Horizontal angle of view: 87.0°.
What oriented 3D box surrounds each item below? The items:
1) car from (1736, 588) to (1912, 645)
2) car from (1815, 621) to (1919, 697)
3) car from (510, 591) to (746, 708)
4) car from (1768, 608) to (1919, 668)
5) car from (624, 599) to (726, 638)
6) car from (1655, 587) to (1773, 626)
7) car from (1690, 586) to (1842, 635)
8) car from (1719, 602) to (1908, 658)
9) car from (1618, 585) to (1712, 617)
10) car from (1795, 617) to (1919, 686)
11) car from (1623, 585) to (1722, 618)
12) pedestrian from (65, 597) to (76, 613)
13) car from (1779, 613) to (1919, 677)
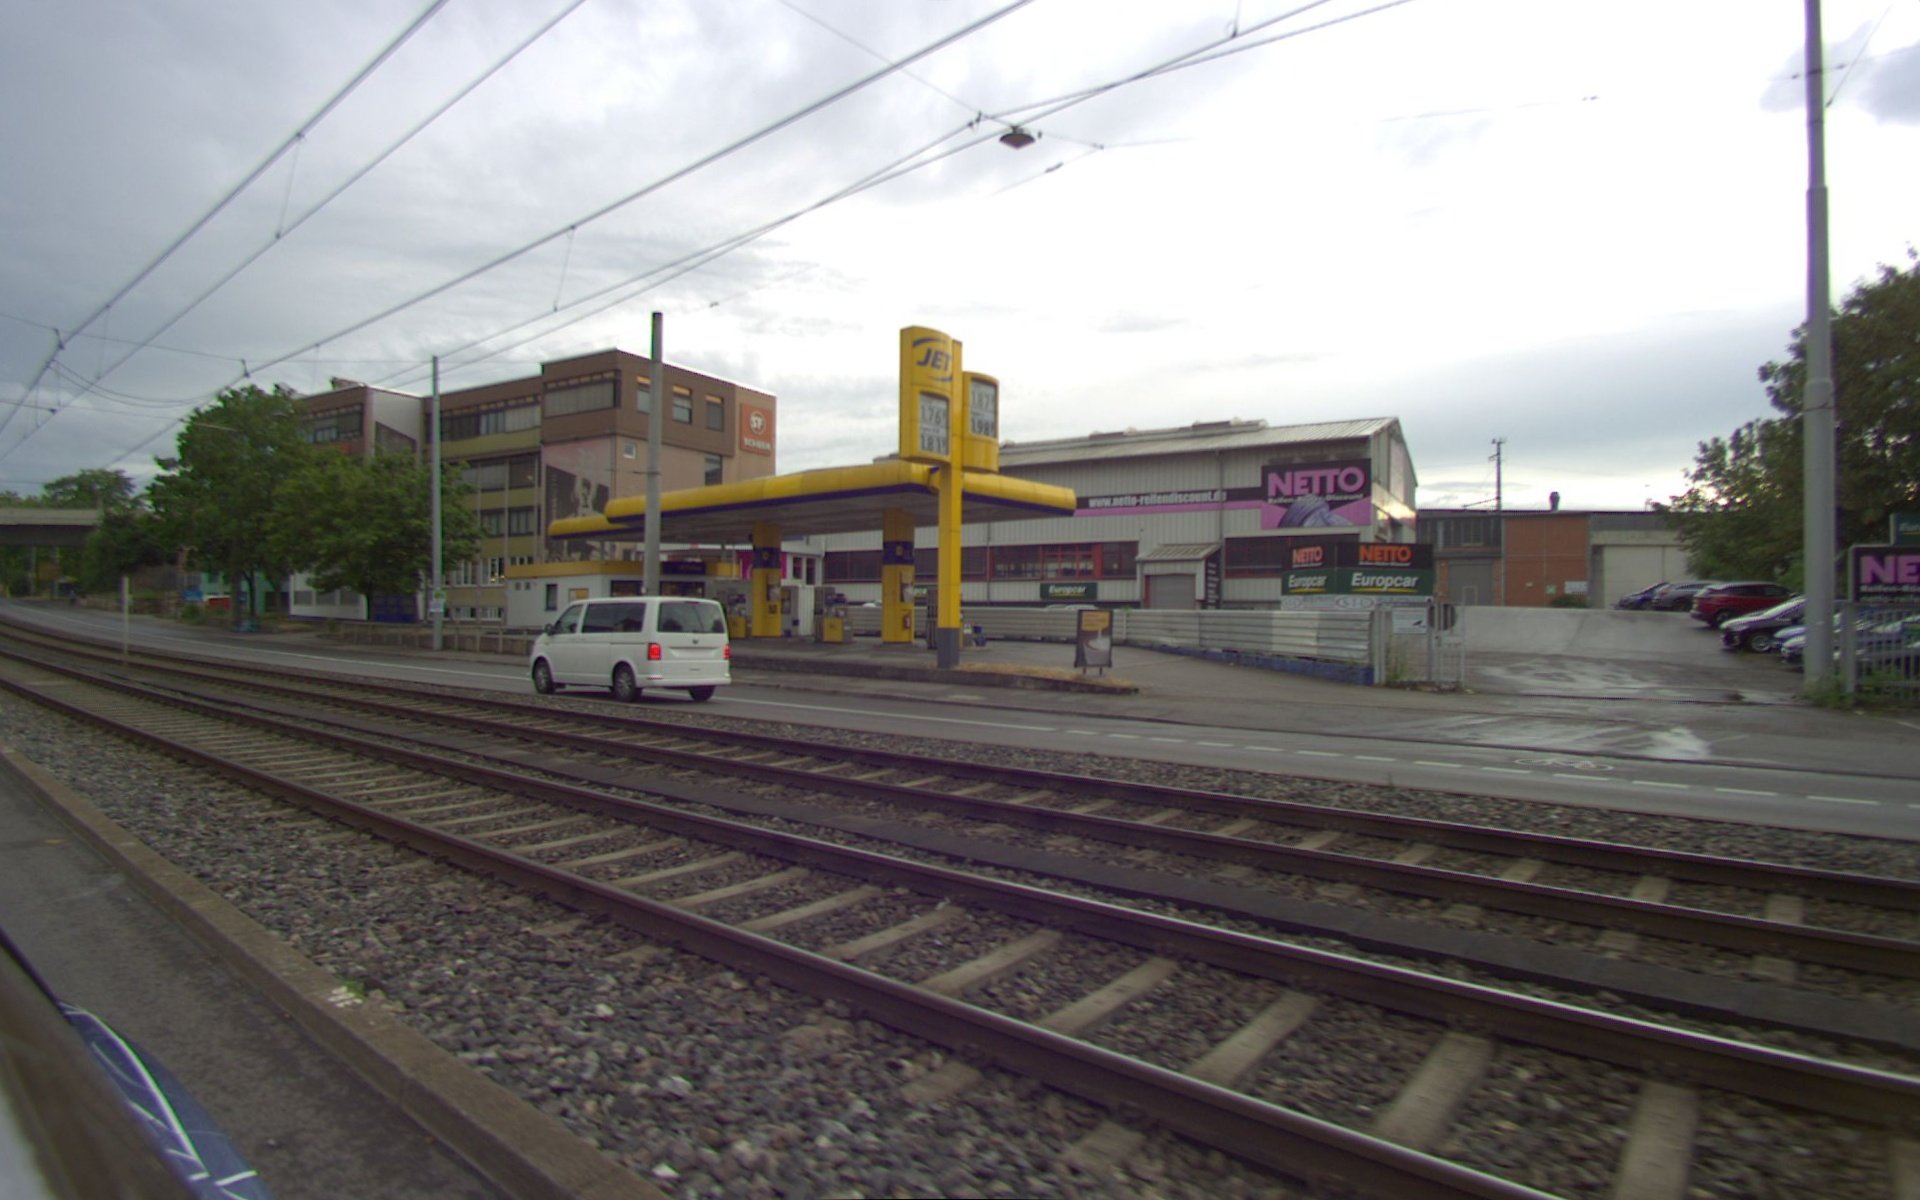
[{"bbox_3d":[26.957,0.460,31.761,3.988,1.663,1.673,1,1,33],"label":"car"},{"bbox_3d":[20.313,1.227,20.773,3.988,1.467,1.673,1,1,33],"label":"car"},{"bbox_3d":[-6.612,0.951,19.870,5.056,2.029,1.973,-1,-4,40],"label":"car"},{"bbox_3d":[24.423,1.001,27.228,3.988,1.467,1.673,1,1,33],"label":"car"},{"bbox_3d":[-11.114,0.676,39.352,4.070,1.426,1.753,0,1,38],"label":"car"},{"bbox_3d":[32.924,0.238,44.340,3.988,1.630,1.673,1,1,33],"label":"car"},{"bbox_3d":[28.295,0.344,35.696,3.988,1.630,1.673,1,1,33],"label":"car"},{"bbox_3d":[24.764,0.821,29.556,3.988,1.467,1.673,1,1,33],"label":"car"},{"bbox_3d":[37.667,0.038,54.174,3.987,1.624,1.851,1,1,32],"label":"car"},{"bbox_3d":[21.834,1.170,23.161,3.988,1.467,1.673,1,1,33],"label":"car"},{"bbox_3d":[36.354,0.067,51.757,3.987,1.624,1.851,1,1,32],"label":"car"},{"bbox_3d":[-88.389,0.500,100.549,1.021,1.657,0.737,0,-1,42],"label":"pedestrian"},{"bbox_3d":[23.207,1.119,25.362,3.988,1.467,1.673,1,1,33],"label":"car"}]
